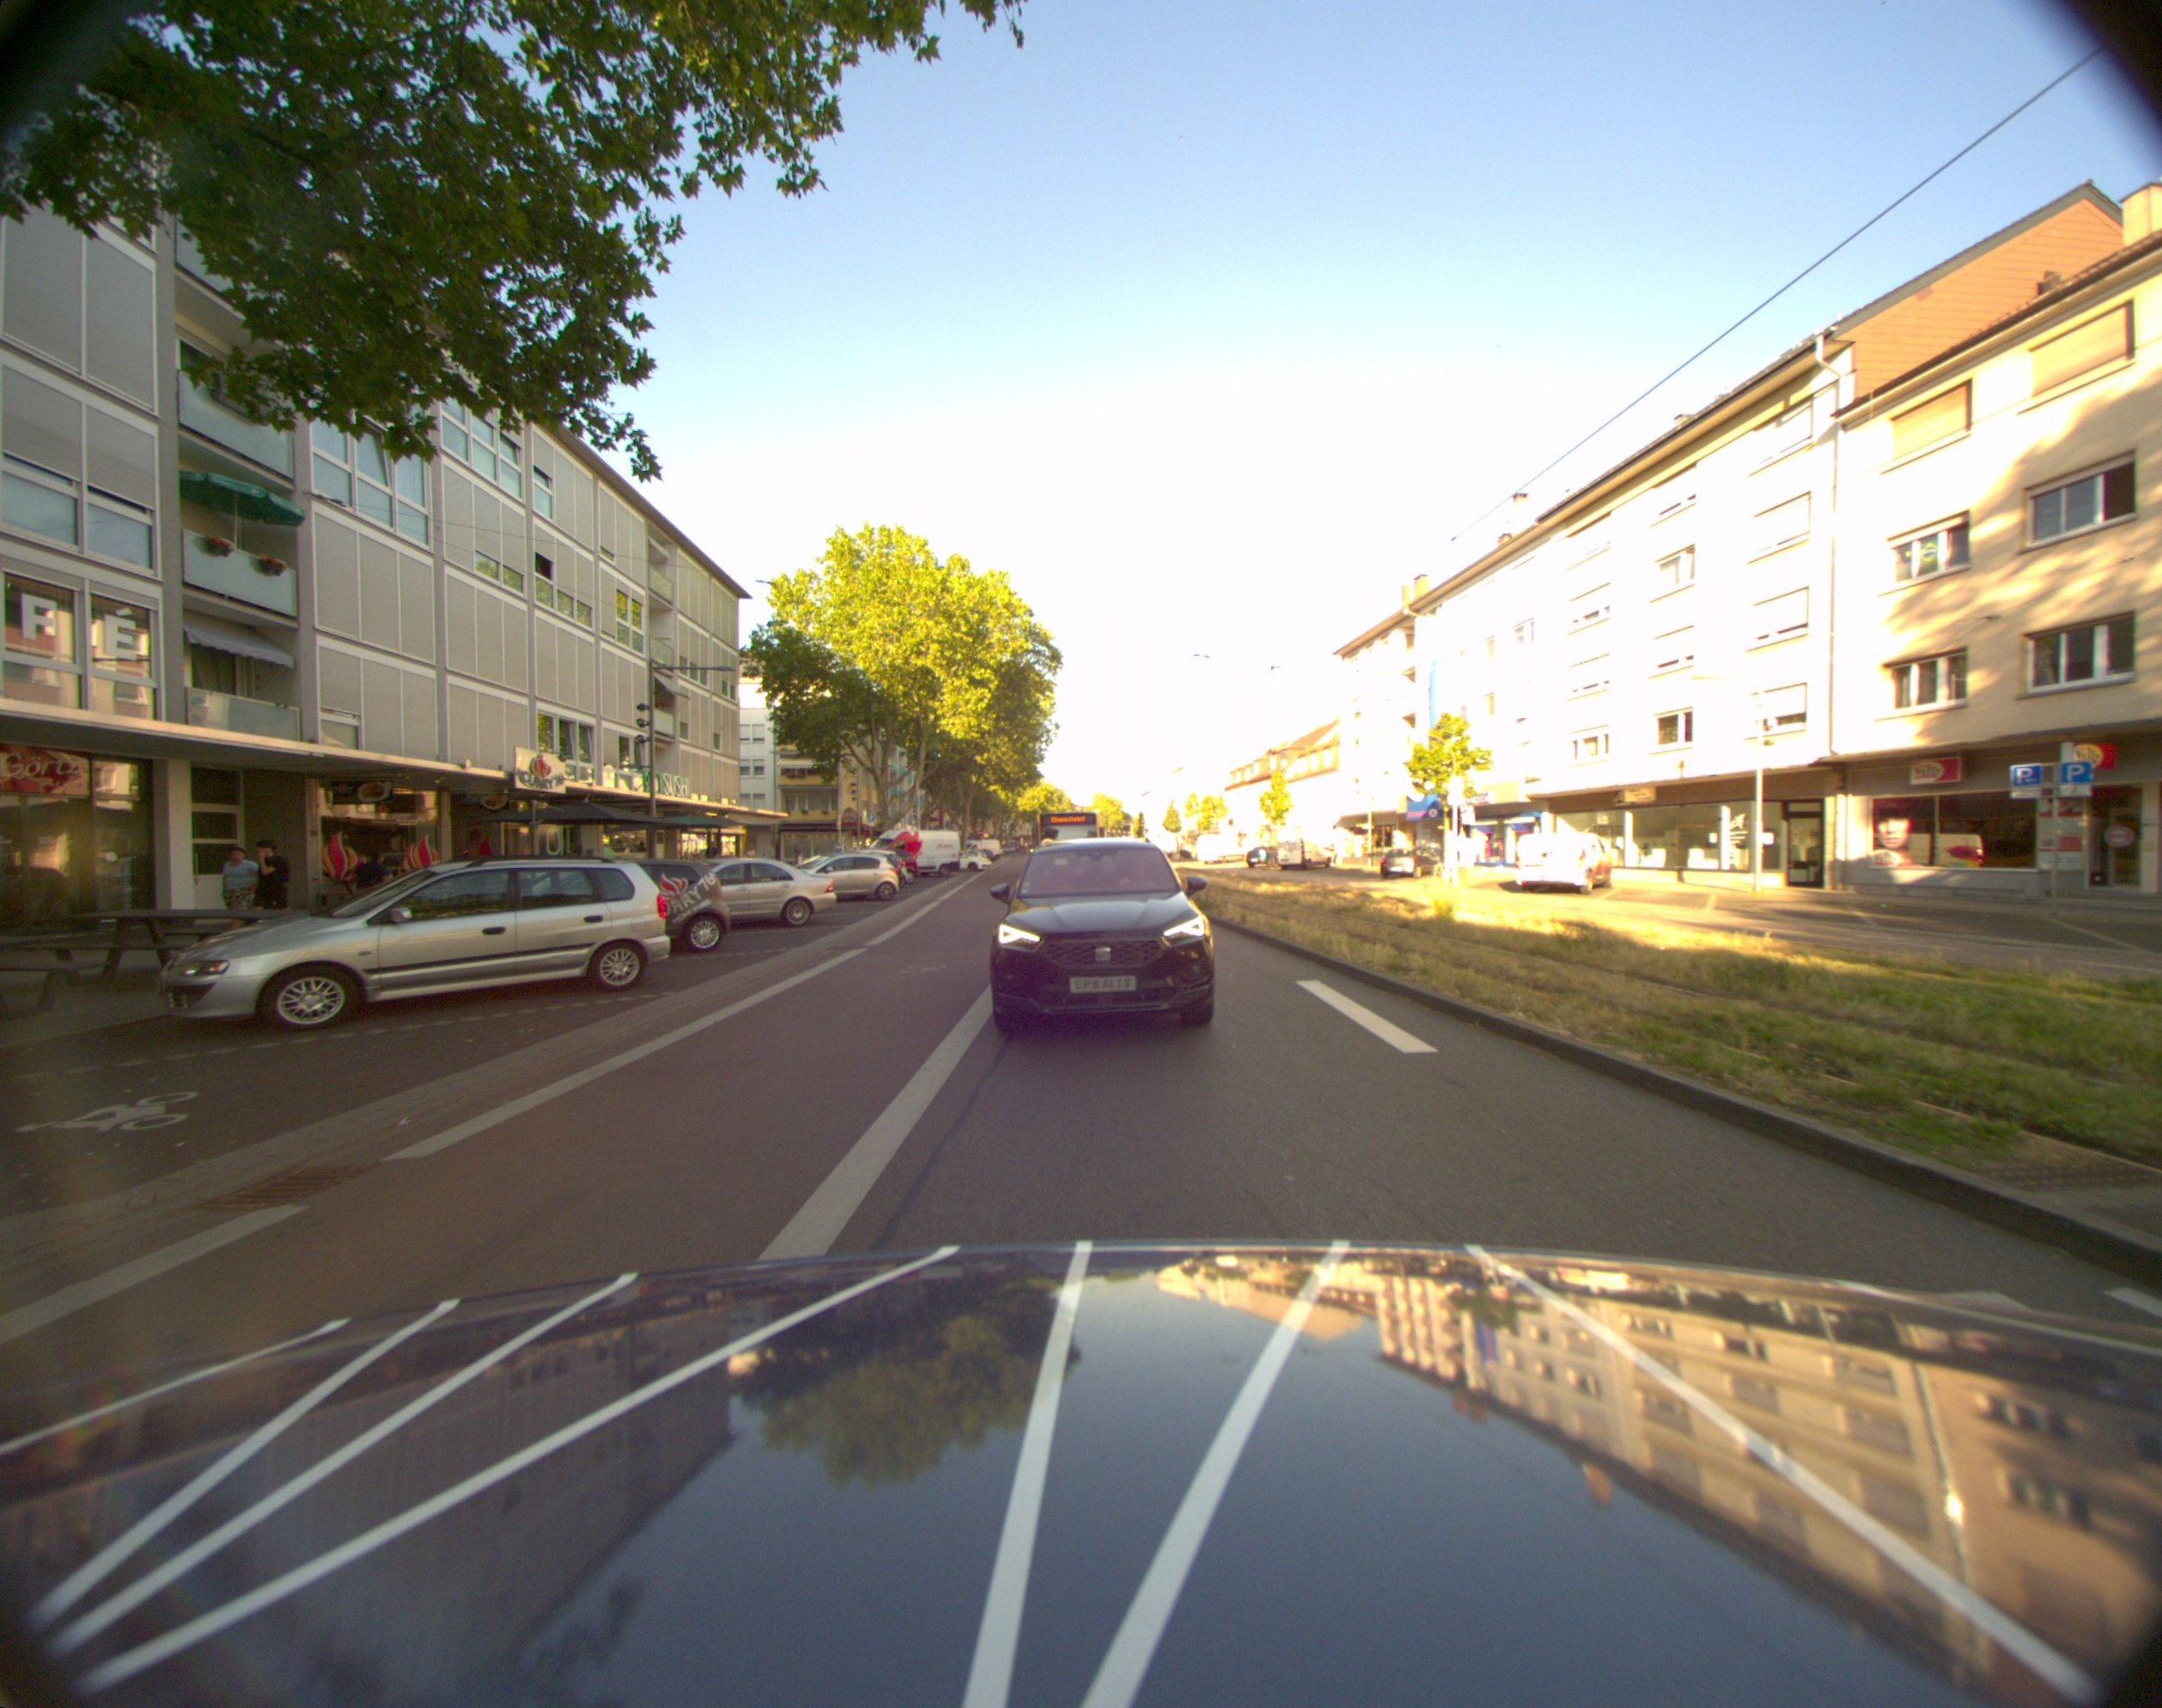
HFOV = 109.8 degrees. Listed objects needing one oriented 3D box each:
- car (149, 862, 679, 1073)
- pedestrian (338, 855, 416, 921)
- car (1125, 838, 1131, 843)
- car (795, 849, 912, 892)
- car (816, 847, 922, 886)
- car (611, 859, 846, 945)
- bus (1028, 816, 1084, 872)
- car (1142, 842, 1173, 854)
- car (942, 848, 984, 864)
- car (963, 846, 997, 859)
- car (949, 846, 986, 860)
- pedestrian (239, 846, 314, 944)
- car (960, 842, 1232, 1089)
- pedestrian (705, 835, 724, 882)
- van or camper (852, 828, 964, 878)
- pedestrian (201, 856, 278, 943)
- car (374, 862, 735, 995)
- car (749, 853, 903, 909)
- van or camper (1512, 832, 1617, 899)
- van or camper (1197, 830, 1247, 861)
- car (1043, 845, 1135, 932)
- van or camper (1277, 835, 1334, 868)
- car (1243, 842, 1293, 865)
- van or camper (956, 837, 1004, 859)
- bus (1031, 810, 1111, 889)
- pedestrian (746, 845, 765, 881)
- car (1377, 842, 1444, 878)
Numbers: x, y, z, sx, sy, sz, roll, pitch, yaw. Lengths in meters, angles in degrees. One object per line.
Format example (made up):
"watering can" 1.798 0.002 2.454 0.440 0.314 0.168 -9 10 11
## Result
"car" -6.837 0.926 8.192 1.804 1.597 4.008 1 1 38
"pedestrian" -15.079 0.703 16.301 0.750 1.354 0.962 0 1 1
"car" 15.570 -4.390 249.539 1.869 1.832 3.826 0 1 2
"car" -8.668 0.576 29.137 4.008 1.514 1.654 -1 2 -44
"car" -8.963 0.479 32.332 4.008 1.555 1.654 -1 2 -44
"car" -7.049 0.867 15.481 1.654 1.428 4.008 2 2 43
"bus" -1.778 -0.745 48.101 2.873 2.962 12.231 -3 2 -4
"car" 10.549 -0.770 105.237 3.921 1.482 1.766 -3 1 -27
"car" -10.300 0.189 66.359 3.337 1.339 1.526 -1 2 -44
"car" -11.080 -0.189 83.400 3.337 1.339 1.526 -1 2 -44
"car" -11.343 -0.070 76.006 3.337 1.339 1.526 -1 2 -44
"pedestrian" -13.492 0.673 12.753 0.538 1.582 0.686 2 1 -4
"car" 0.136 0.739 7.229 1.808 1.638 3.999 -2 1 1
"pedestrian" -15.641 0.191 32.431 0.552 2.002 0.576 -3 2 -18
"van or camper" -8.953 -0.113 39.728 5.474 2.455 1.994 -1 1 -44
"pedestrian" -14.058 0.740 12.712 0.538 1.392 0.686 2 1 -4
"car" -7.511 0.916 11.194 1.804 1.498 4.008 1 1 38
"car" -7.511 0.732 22.626 4.008 1.428 1.654 -1 2 -44
"van or camper" 15.940 0.305 24.929 1.946 1.887 4.824 -1 1 44
"van or camper" 13.171 -0.802 70.595 1.994 2.652 6.409 -2 1 34
"car" 0.145 0.601 15.872 1.658 1.572 3.999 0 1 0
"van or camper" 14.779 -0.197 49.826 1.795 1.978 4.459 -1 1 42
"car" 13.968 -0.049 56.690 1.874 1.577 4.007 -1 1 43
"van or camper" -11.507 -0.741 86.889 1.994 2.455 5.474 1 1 44
"bus" -0.783 -0.366 35.897 2.873 2.962 12.231 -3 2 -4
"pedestrian" -14.397 0.398 33.581 0.538 1.582 0.686 2 1 -4
"car" 15.773 0.262 36.259 1.765 1.482 4.459 -1 1 39
